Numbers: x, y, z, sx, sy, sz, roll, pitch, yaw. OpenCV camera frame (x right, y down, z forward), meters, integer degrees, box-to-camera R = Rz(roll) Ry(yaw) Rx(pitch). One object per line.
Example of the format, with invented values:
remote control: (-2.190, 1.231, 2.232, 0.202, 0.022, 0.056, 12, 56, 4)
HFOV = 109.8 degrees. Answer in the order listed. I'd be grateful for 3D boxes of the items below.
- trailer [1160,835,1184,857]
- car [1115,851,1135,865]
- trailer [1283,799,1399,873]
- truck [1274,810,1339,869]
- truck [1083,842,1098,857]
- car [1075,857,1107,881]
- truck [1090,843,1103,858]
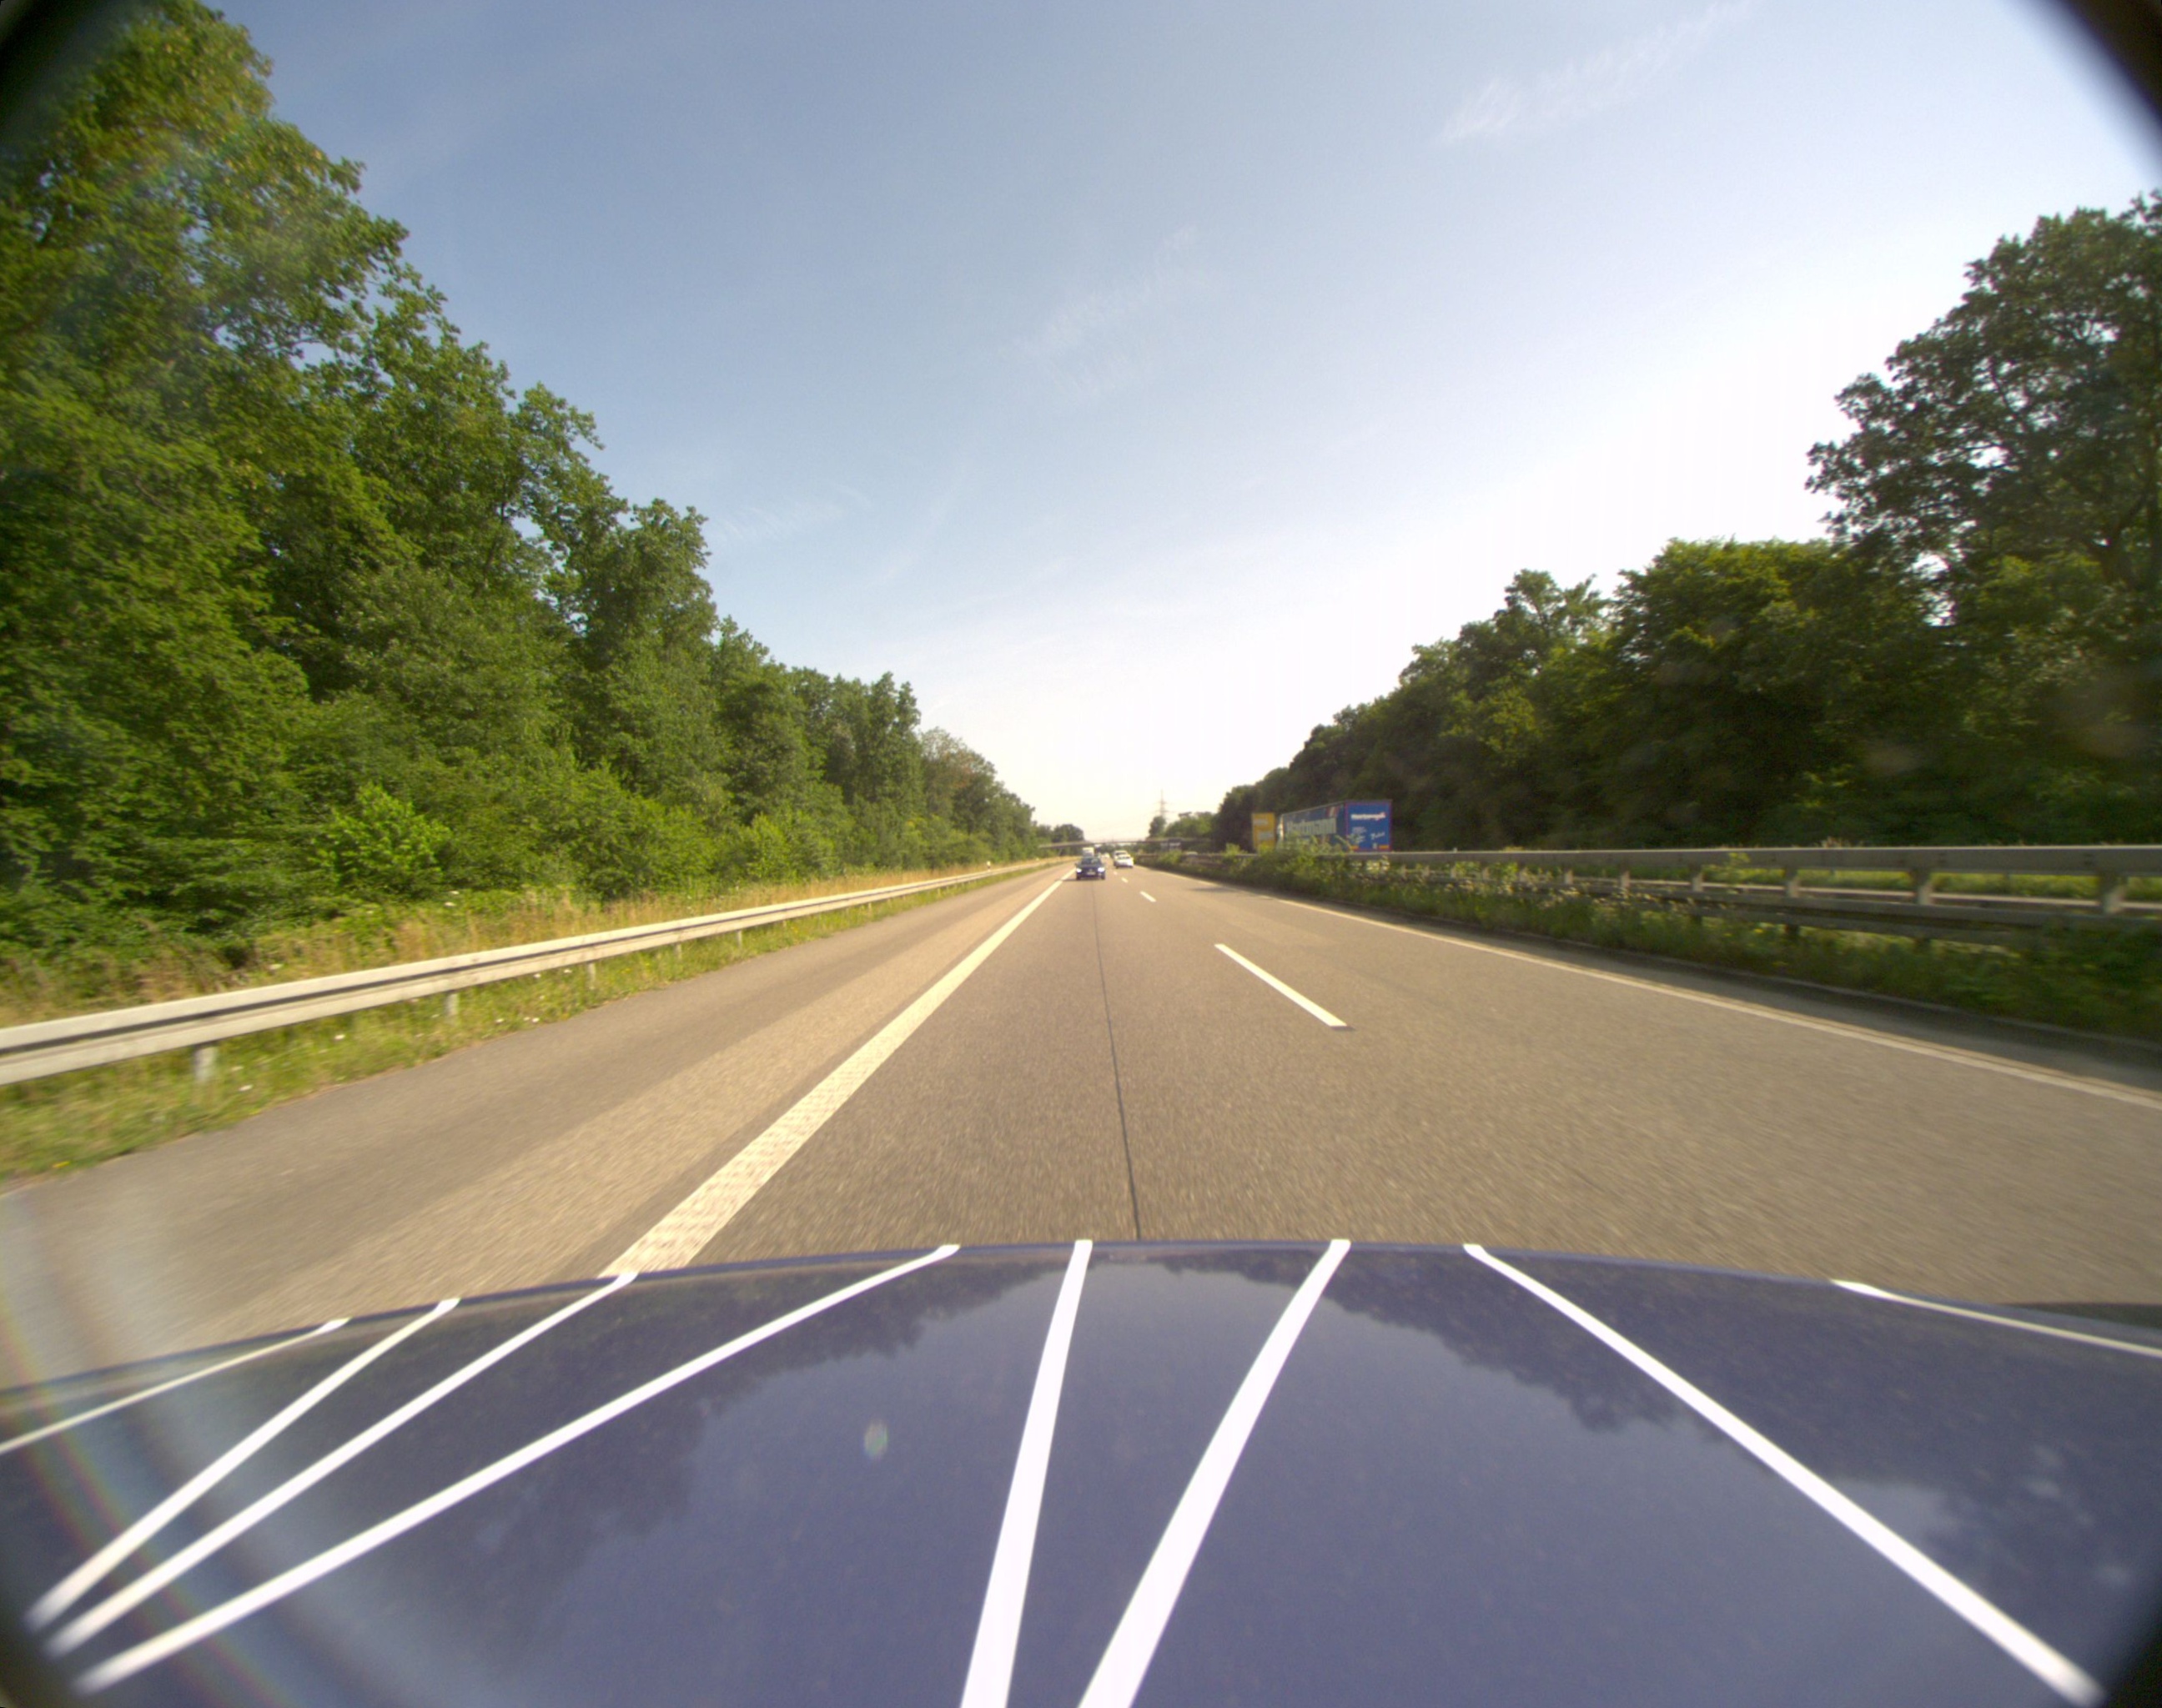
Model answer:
trailer: (17.491, -1.541, 146.973, 2.973, 4.047, 14.316, -1, 0, 0)
car: (4.734, 0.413, 82.286, 1.754, 1.477, 5.263, -2, 1, 0)
trailer: (15.927, -1.012, 47.957, 2.900, 3.985, 13.322, 0, 0, 1)
truck: (16.012, -0.998, 54.296, 2.900, 4.008, 6.025, 0, 0, 1)
truck: (1.917, -0.939, 163.542, 2.695, 3.020, 10.369, -2, 0, -1)
car: (0.563, 0.881, 45.186, 1.789, 1.285, 3.538, -2, 1, -1)
truck: (4.315, -1.000, 213.941, 2.695, 4.062, 12.362, -2, 0, -2)
